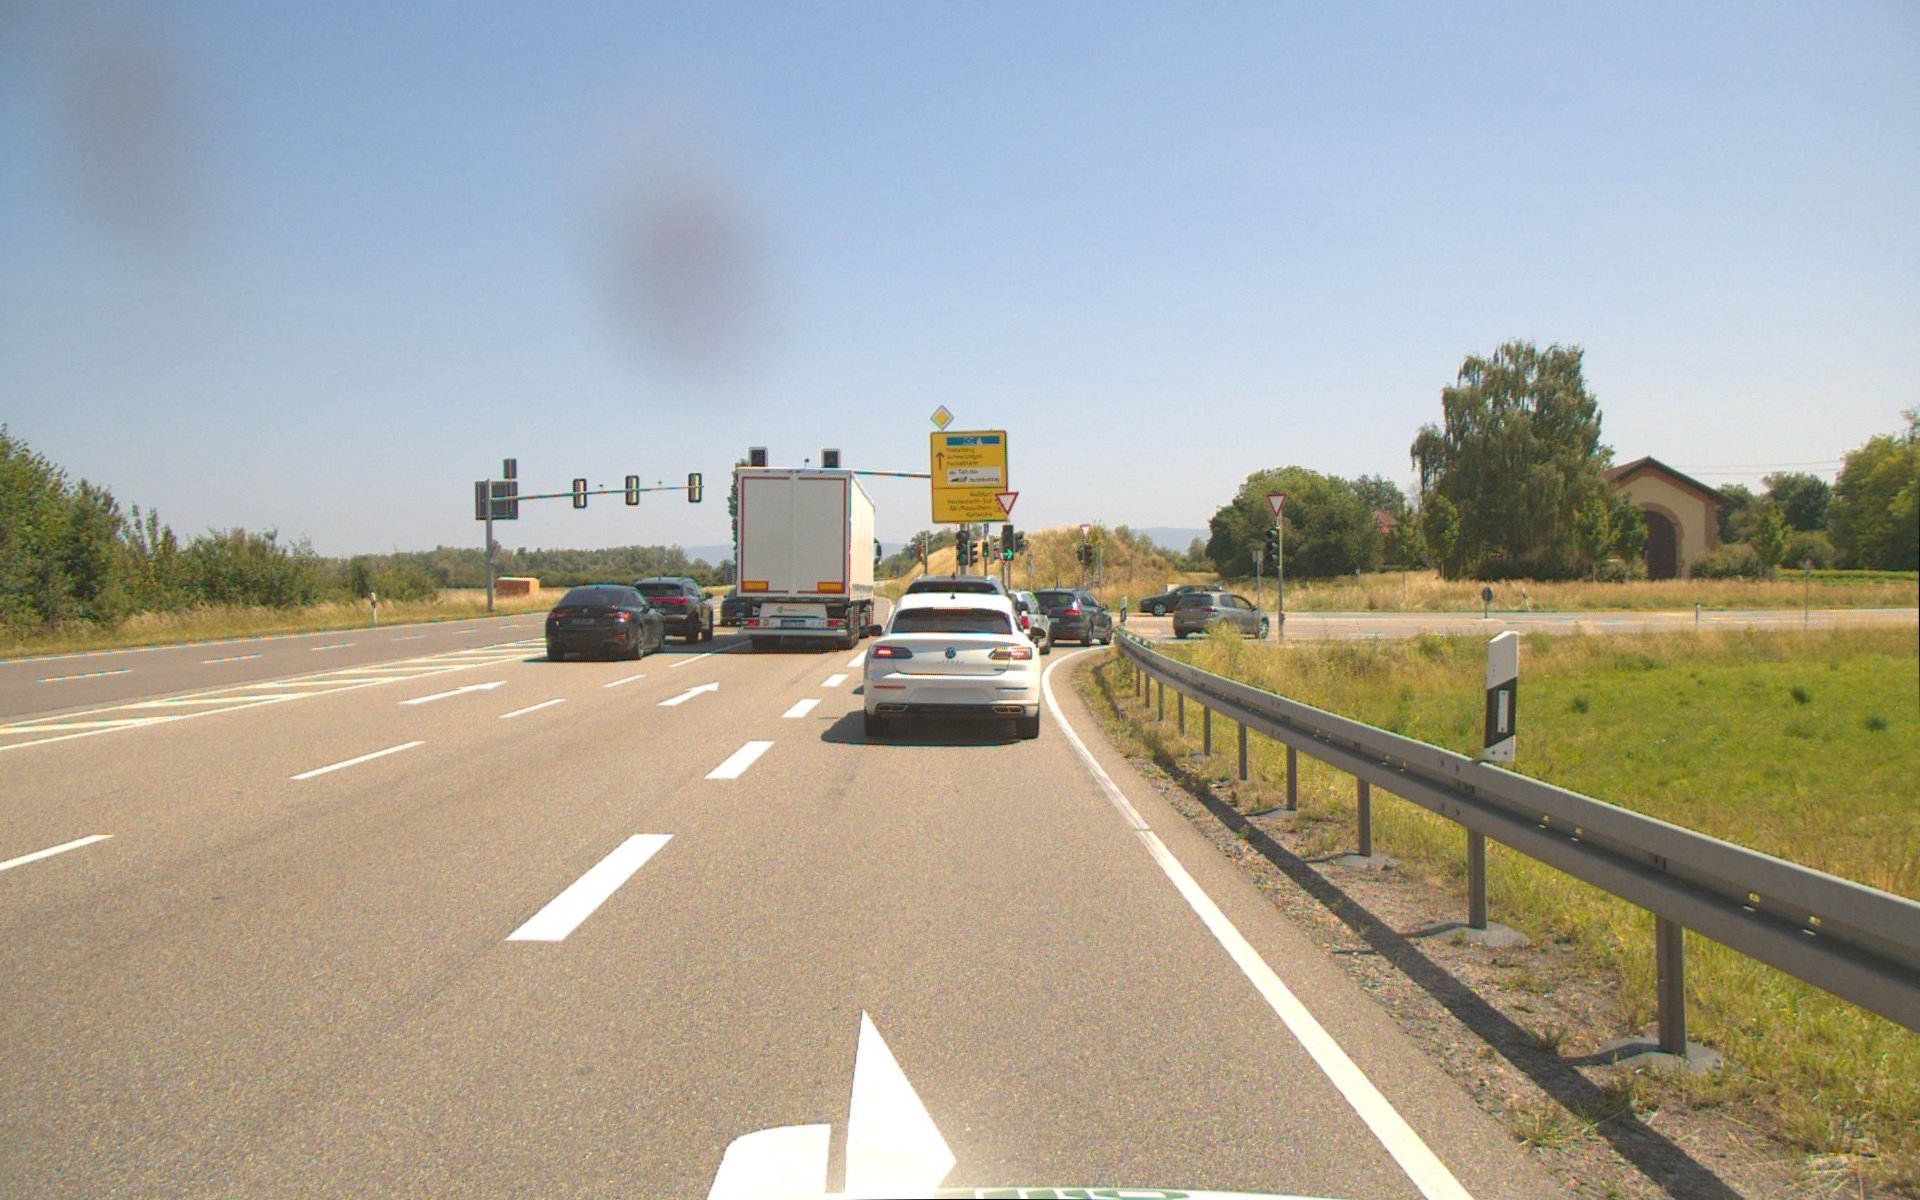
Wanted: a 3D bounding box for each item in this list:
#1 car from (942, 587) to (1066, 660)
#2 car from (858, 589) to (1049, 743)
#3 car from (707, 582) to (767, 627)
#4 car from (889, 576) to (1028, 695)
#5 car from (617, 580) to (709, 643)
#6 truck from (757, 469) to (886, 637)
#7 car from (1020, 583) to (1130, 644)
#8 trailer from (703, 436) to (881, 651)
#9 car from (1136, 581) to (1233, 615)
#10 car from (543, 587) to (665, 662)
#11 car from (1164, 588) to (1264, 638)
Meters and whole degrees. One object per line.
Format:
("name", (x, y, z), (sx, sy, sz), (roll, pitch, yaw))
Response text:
("car", (0.999, 0.465, 35.222), (1.761, 1.454, 4.096), (0, 0, 14))
("car", (-0.093, 0.626, 18.014), (1.810, 1.458, 4.607), (0, 0, -1))
("car", (-7.991, 0.149, 59.608), (1.773, 1.519, 4.019), (1, 0, -3))
("car", (0.072, 0.490, 25.211), (1.894, 1.644, 4.380), (0, 0, 3))
("car", (-7.552, 0.278, 42.338), (1.773, 1.519, 4.019), (1, 0, -3))
("truck", (-4.000, -1.335, 49.231), (3.312, 4.622, 6.371), (1, 0, -1))
("car", (3.055, 0.333, 42.978), (1.762, 1.502, 4.416), (0, 0, 19))
("trailer", (-3.937, -1.267, 42.248), (3.312, 4.622, 12.870), (1, 0, -1))
("car", (10.191, -0.099, 75.238), (4.171, 1.392, 1.777), (-1, 2, 2))
("car", (-7.220, 0.461, 33.883), (1.773, 1.423, 4.019), (1, 0, -3))
("car", (8.242, 0.397, 53.464), (1.768, 1.548, 3.871), (0, 0, 33))
